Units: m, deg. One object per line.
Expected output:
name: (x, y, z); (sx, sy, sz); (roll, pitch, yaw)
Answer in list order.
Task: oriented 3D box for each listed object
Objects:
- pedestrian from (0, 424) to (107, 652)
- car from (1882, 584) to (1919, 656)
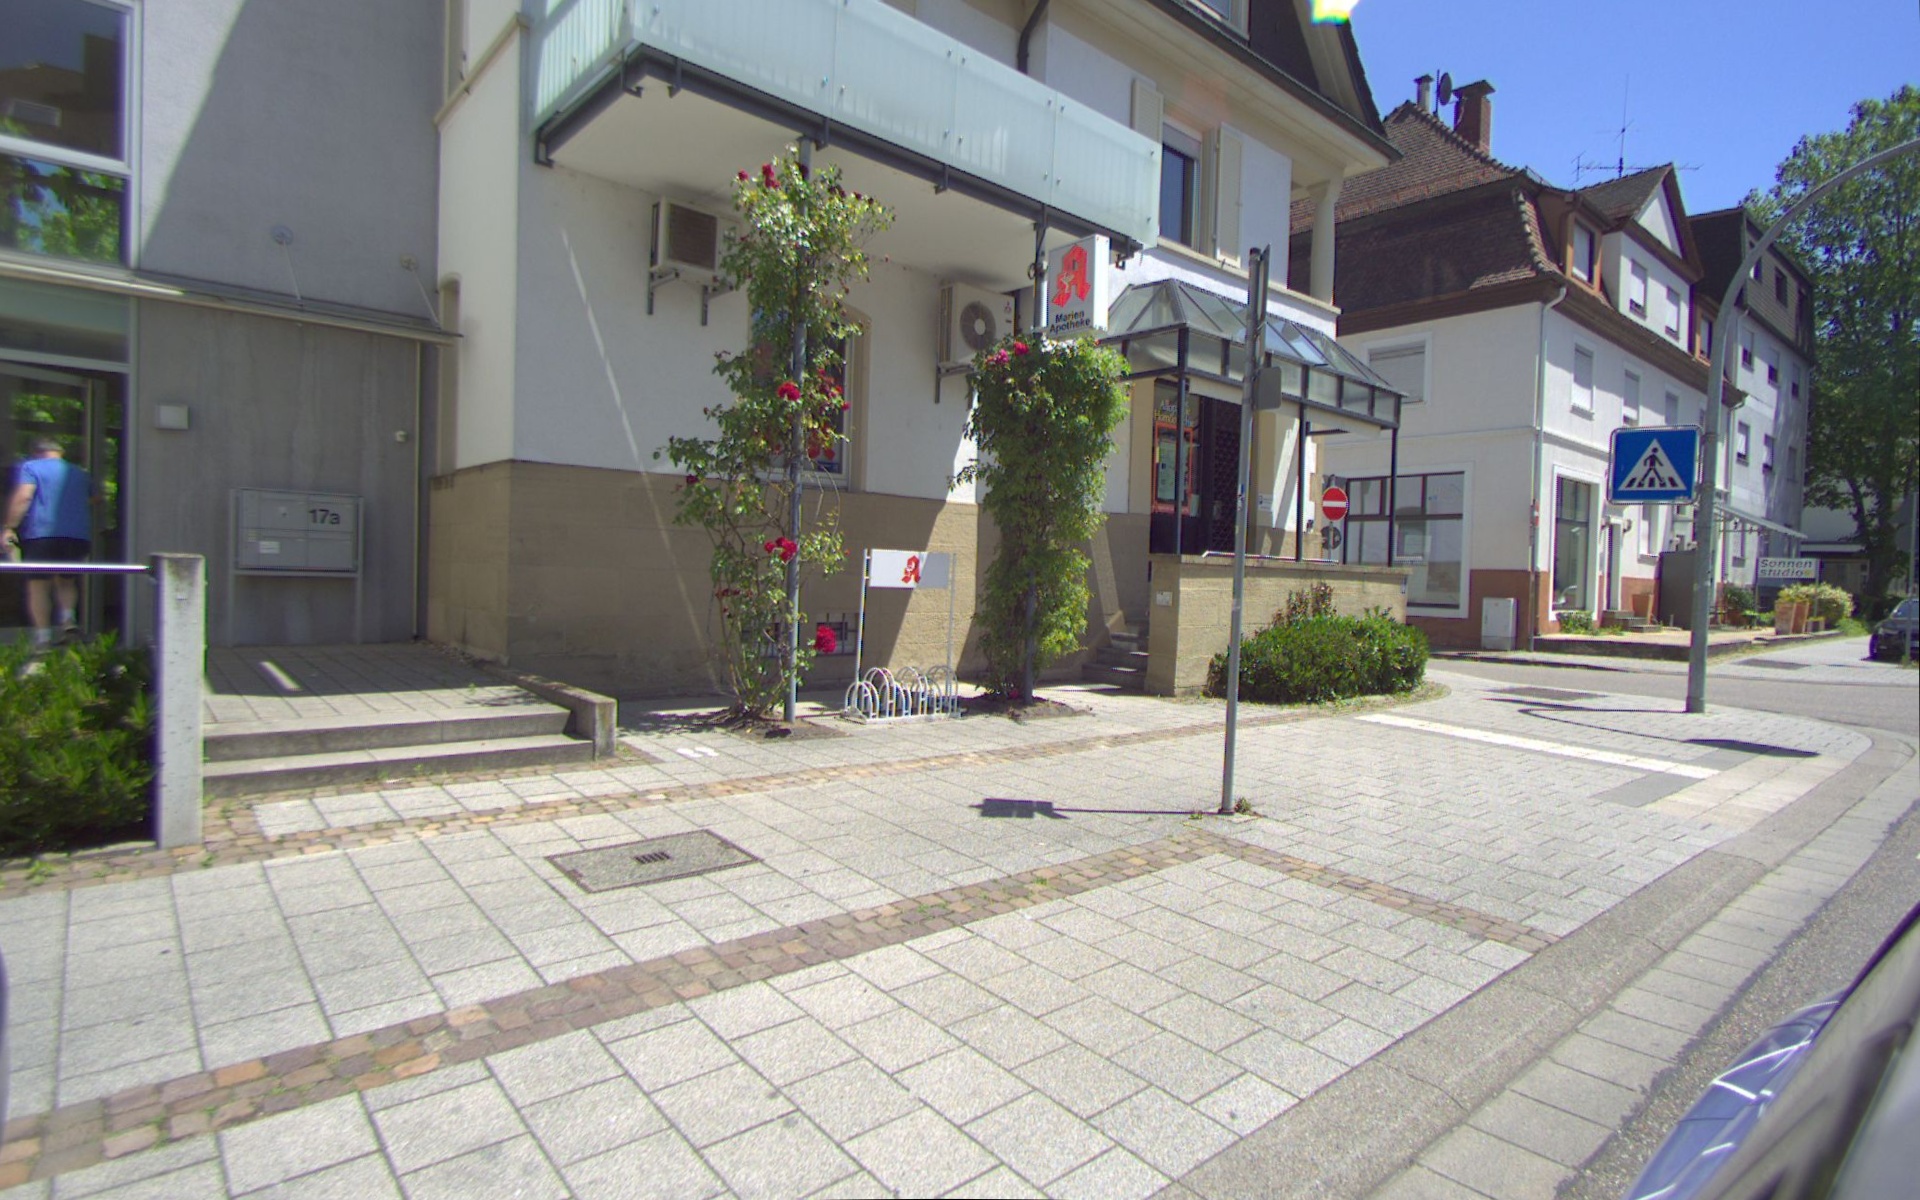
pedestrian: (-7.199, -0.481, 7.987); (0.404, 1.723, 0.594); (1, 1, 16)
car: (21.572, 0.416, 21.883); (4.618, 1.444, 1.831); (-1, 4, -41)
